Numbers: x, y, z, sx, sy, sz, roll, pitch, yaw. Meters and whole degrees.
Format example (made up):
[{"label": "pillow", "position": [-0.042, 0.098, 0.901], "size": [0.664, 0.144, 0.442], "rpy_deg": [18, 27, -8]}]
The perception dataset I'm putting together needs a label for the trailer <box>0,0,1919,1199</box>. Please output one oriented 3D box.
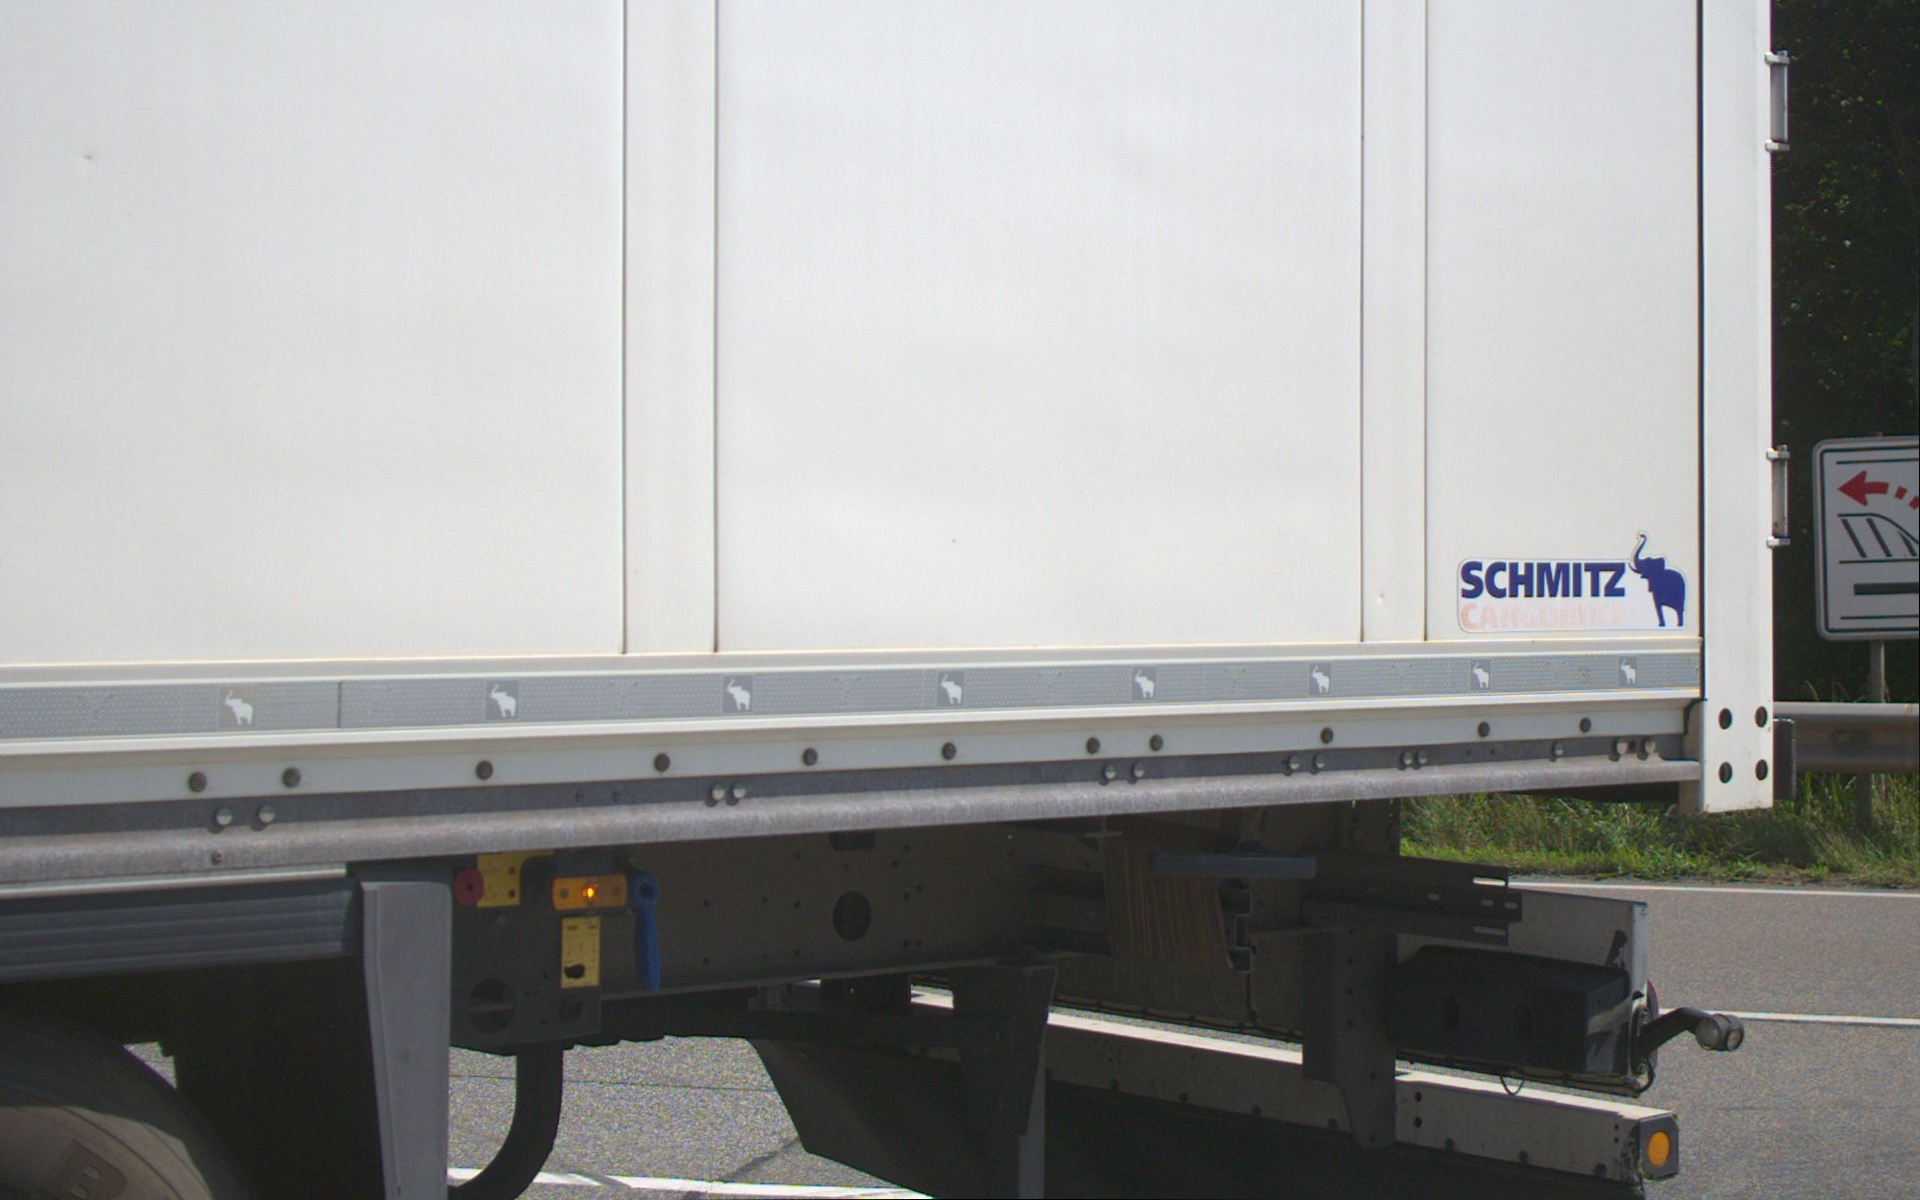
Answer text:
[{"label": "trailer", "position": [-4.654, -0.719, 2.041], "size": [13.938, 4.151, 2.896], "rpy_deg": [0, 1, -38]}]
